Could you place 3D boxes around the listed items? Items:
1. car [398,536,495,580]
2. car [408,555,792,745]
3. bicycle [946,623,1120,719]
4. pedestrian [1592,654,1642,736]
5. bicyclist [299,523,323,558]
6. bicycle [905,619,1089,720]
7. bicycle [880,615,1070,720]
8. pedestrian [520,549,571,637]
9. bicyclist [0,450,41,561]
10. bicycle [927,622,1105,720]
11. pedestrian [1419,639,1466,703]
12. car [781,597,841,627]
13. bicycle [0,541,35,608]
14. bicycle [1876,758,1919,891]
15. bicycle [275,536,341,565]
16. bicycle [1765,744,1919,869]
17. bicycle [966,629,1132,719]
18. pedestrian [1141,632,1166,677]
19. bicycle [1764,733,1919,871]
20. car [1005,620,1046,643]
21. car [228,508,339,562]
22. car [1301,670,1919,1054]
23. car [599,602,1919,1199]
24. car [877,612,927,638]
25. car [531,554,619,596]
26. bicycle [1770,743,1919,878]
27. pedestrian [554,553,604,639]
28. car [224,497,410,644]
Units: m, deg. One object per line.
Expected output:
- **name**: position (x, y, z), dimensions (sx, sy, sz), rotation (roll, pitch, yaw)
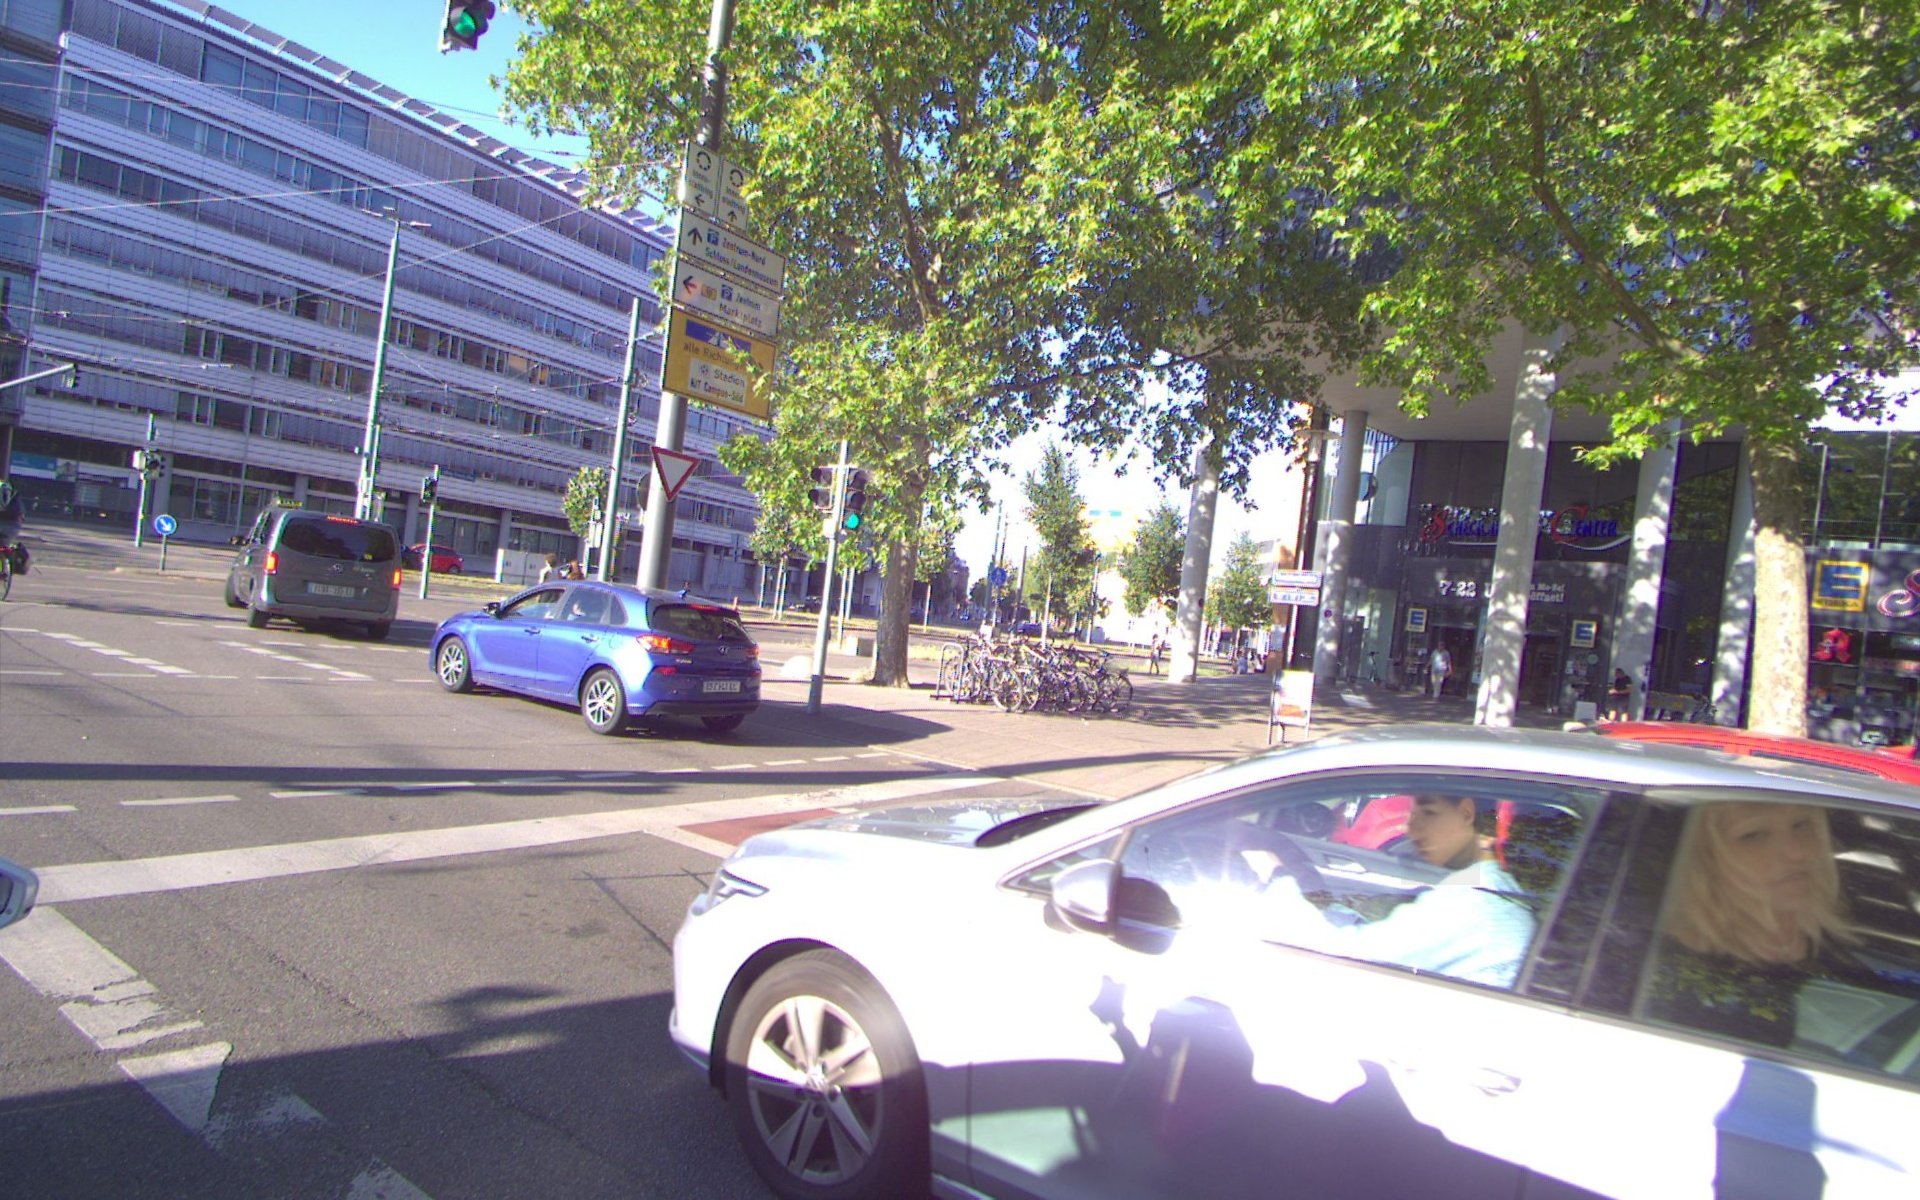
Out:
- **car**: position (-26.378, -2.135, 51.796), dimensions (1.769, 1.569, 3.990), rotation (6, -2, 36)
- **car**: position (-4.087, 0.496, 11.216), dimensions (4.143, 1.476, 1.750), rotation (7, -1, 33)
- **bicycle**: position (1.237, 1.219, 17.578), dimensions (2.896, 1.250, 0.698), rotation (6, -4, 31)
- **pedestrian**: position (17.516, 2.534, 26.817), dimensions (0.847, 2.037, 1.021), rotation (6, -1, 38)
- **bicyclist**: position (-29.992, -2.743, 46.474), dimensions (0.604, 1.521, 0.663), rotation (7, 1, 37)
- **bicycle**: position (0.560, 1.101, 16.325), dimensions (2.896, 1.243, 0.686), rotation (6, -1, 31)
- **bicycle**: position (0.195, 1.026, 15.709), dimensions (2.896, 1.252, 0.705), rotation (6, -1, 31)
- **pedestrian**: position (-8.879, -0.147, 21.551), dimensions (0.674, 1.781, 0.734), rotation (6, 1, -38)
- **bicyclist**: position (-13.267, -1.324, 13.935), dimensions (0.605, 1.456, 0.487), rotation (7, -1, 32)
- **bicycle**: position (0.904, 1.174, 16.962), dimensions (2.896, 1.252, 0.705), rotation (6, -1, 32)
- **pedestrian**: position (15.423, 2.247, 32.154), dimensions (0.800, 1.913, 0.871), rotation (5, 1, -16)
- **car**: position (-10.855, 0.876, 73.392), dimensions (1.852, 1.614, 4.121), rotation (6, -2, 35)
- **bicycle**: position (-13.600, -0.418, 14.034), dimensions (1.830, 0.798, 0.491), rotation (8, 0, 32)
- **bicycle**: position (10.335, 2.300, 9.367), dimensions (2.514, 1.234, 0.756), rotation (5, -2, 37)
- **bicycle**: position (-30.086, -2.277, 46.437), dimensions (0.627, 1.035, 2.410), rotation (7, 0, 36)
- **bicycle**: position (11.791, 2.572, 11.620), dimensions (3.758, 1.234, 0.792), rotation (5, -2, 36)
- **bicycle**: position (1.591, 1.309, 18.324), dimensions (2.896, 1.253, 0.704), rotation (6, 1, 31)
- **pedestrian**: position (7.320, 2.065, 38.067), dimensions (0.569, 1.612, 0.595), rotation (7, 0, 32)
- **bicycle**: position (11.315, 2.490, 11.014), dimensions (3.757, 1.235, 0.727), rotation (10, 1, 38)
- **car**: position (6.212, 2.949, 94.575), dimensions (1.852, 1.614, 4.121), rotation (6, -2, 35)
- **car**: position (-33.994, -3.239, 50.636), dimensions (1.967, 2.037, 3.995), rotation (6, -2, 32)
- **car**: position (4.159, 1.434, 6.180), dimensions (3.538, 1.476, 1.493), rotation (7, -1, 32)
- **car**: position (1.138, 1.021, 2.555), dimensions (3.935, 1.435, 1.750), rotation (8, -1, 34)
- **car**: position (-4.707, 2.032, 82.005), dimensions (1.852, 1.614, 4.121), rotation (6, -2, 35)
- **car**: position (-20.935, -1.341, 54.856), dimensions (1.852, 1.614, 3.991), rotation (6, -2, 35)
- **bicycle**: position (10.879, 2.388, 10.428), dimensions (3.759, 1.234, 0.756), rotation (5, -2, 38)
- **pedestrian**: position (-8.333, -0.085, 21.996), dimensions (0.680, 1.781, 0.734), rotation (6, 1, -38)
- **car**: position (-10.861, -0.547, 16.808), dimensions (1.992, 1.919, 4.830), rotation (8, -1, -38)
